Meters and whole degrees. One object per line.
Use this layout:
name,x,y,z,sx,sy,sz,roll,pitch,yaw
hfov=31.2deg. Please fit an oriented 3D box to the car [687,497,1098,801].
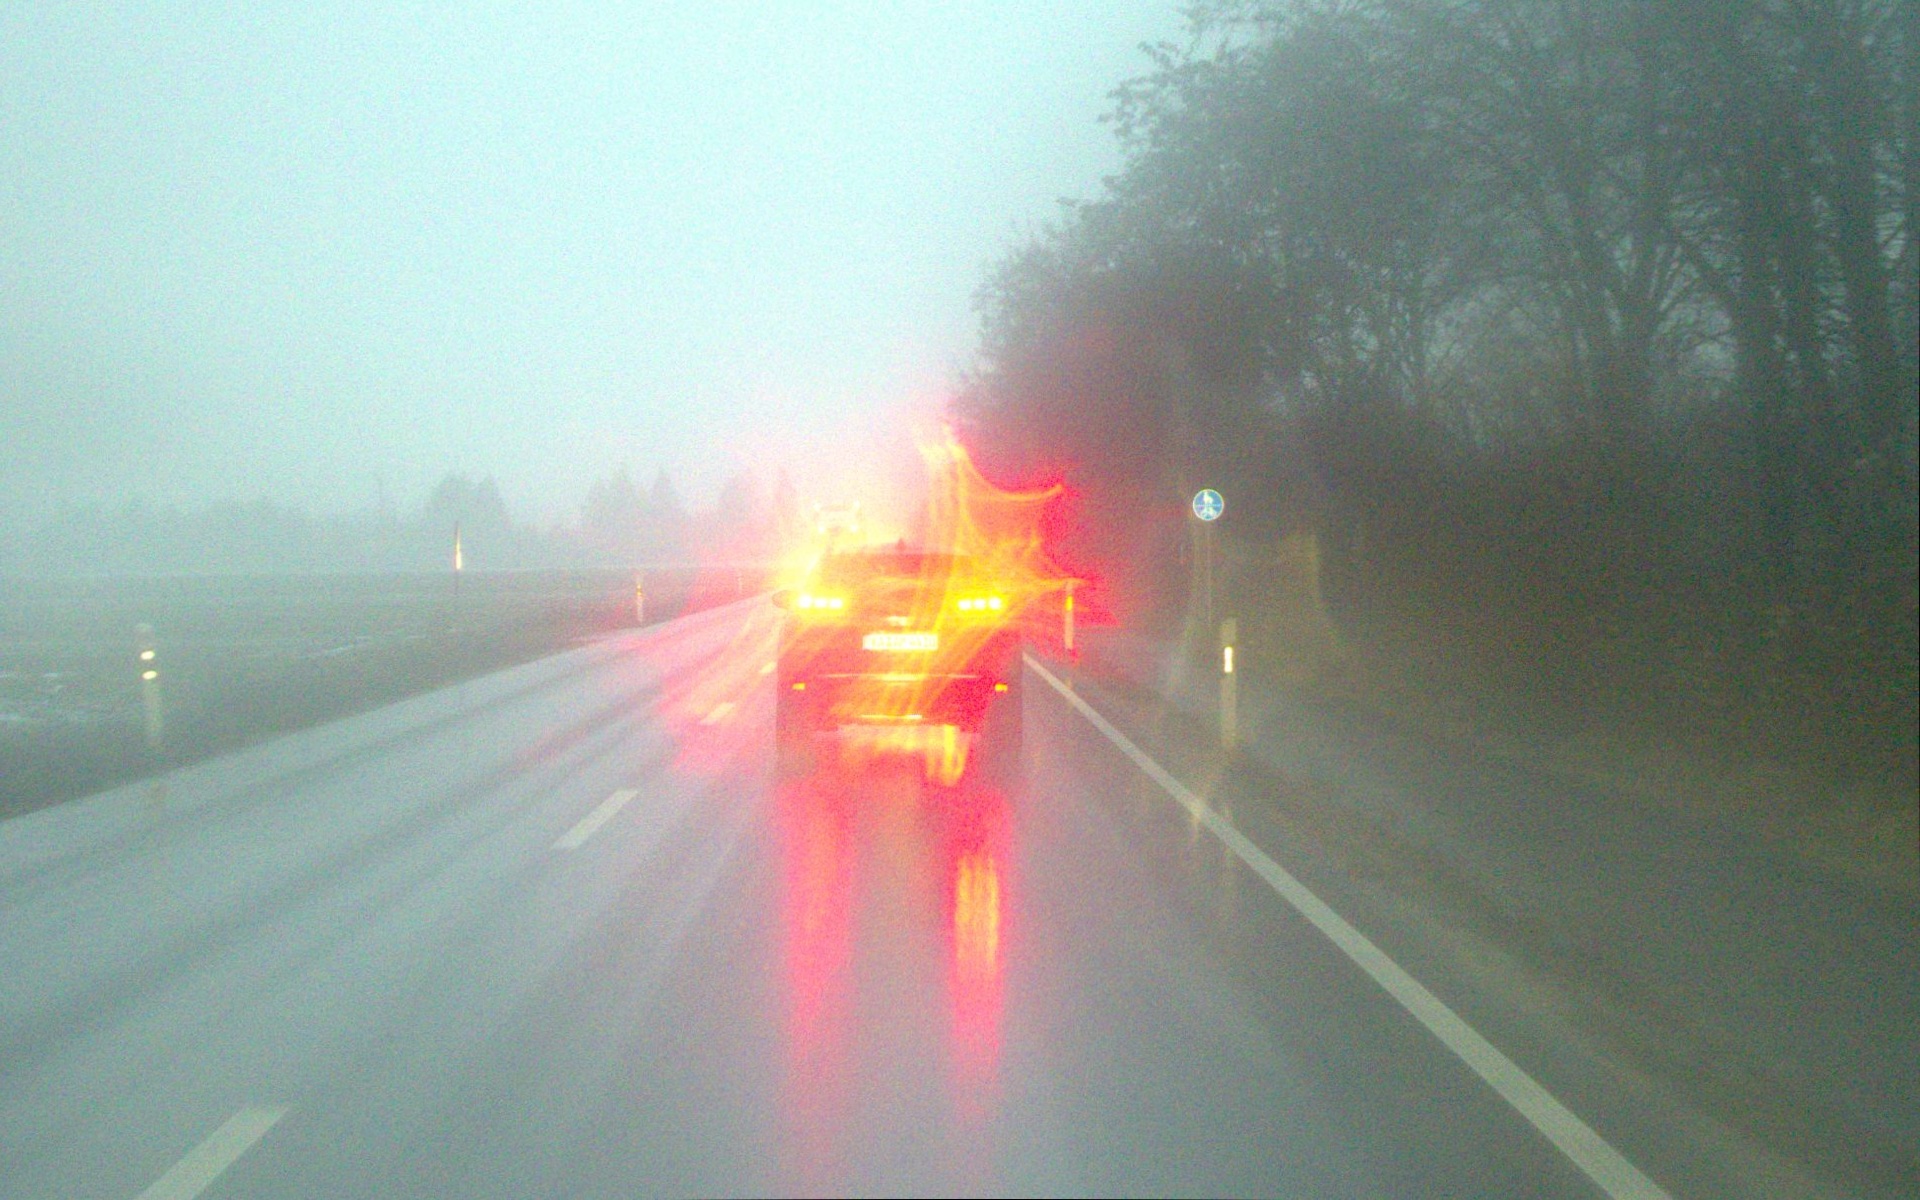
car,-0.482,0.308,26.696,2.820,2.070,5.804,1,1,0
